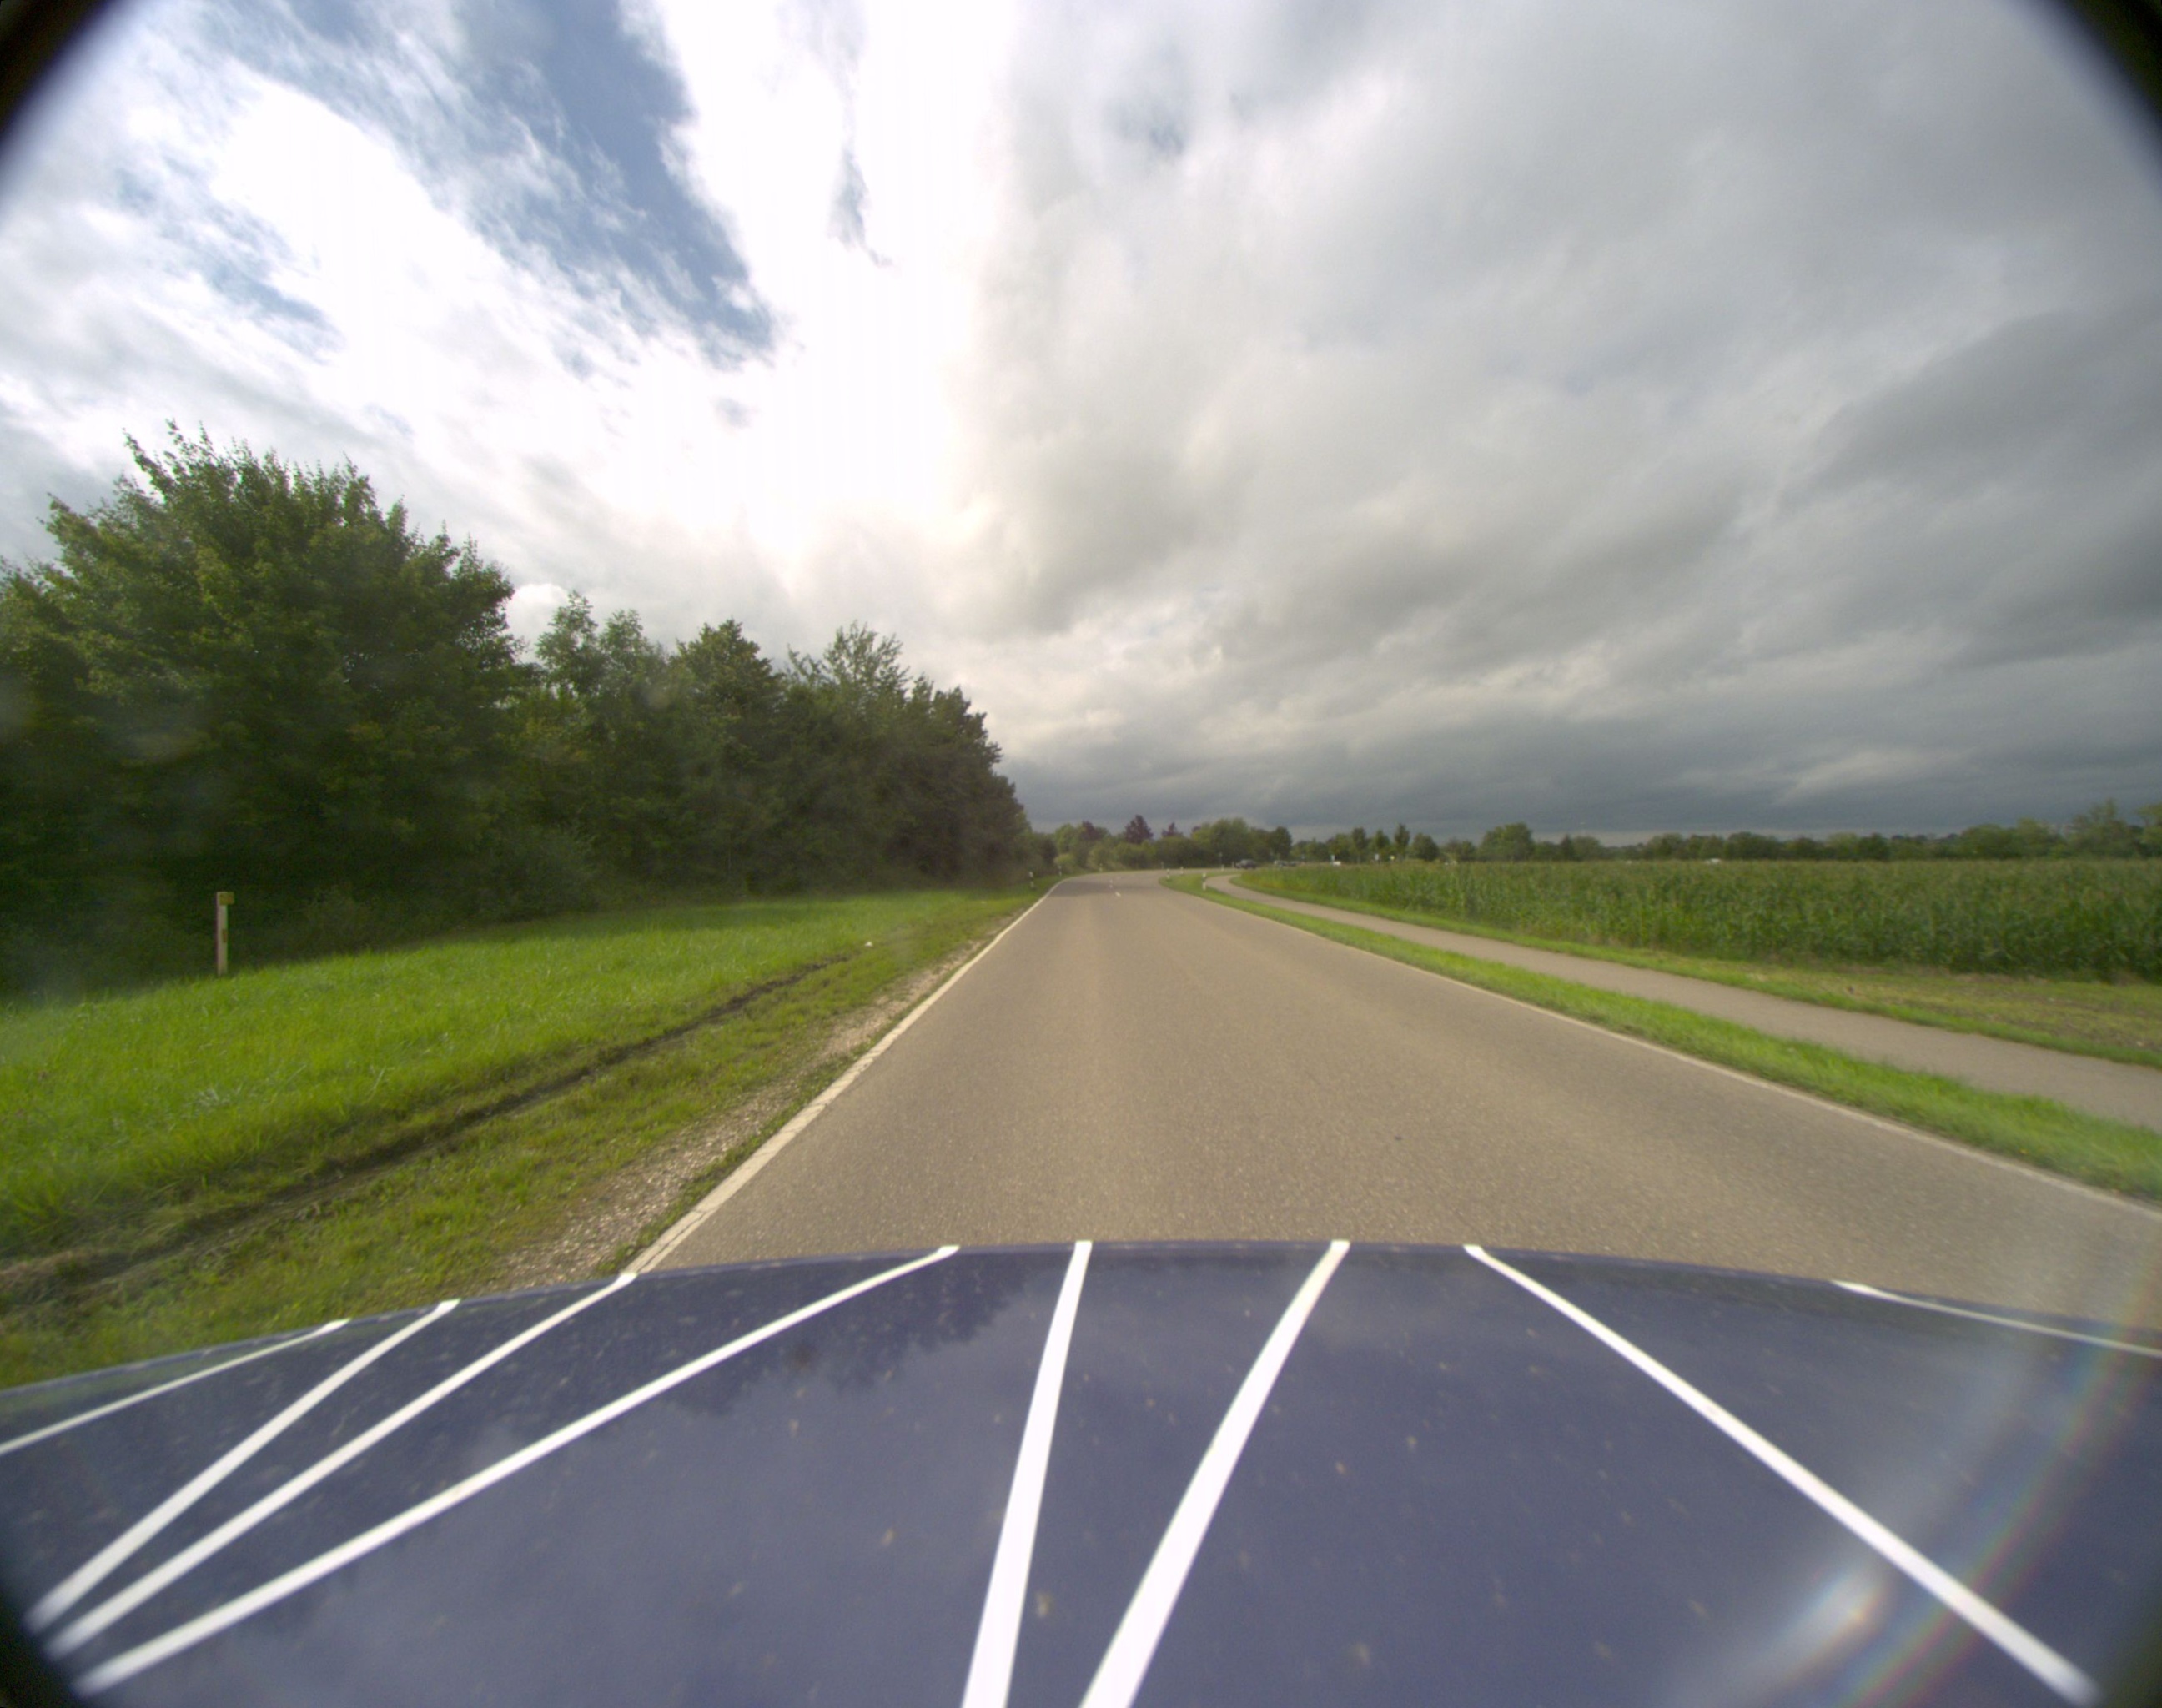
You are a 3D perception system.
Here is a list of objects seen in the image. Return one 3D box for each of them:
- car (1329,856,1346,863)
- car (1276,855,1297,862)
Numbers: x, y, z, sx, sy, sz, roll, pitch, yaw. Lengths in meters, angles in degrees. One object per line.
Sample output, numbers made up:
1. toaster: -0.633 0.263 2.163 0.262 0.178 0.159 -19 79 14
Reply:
1. car: 69.753 1.619 206.785 3.988 1.849 2.004 1 0 40
2. car: 49.749 1.082 184.382 4.479 1.572 2.004 1 0 37
